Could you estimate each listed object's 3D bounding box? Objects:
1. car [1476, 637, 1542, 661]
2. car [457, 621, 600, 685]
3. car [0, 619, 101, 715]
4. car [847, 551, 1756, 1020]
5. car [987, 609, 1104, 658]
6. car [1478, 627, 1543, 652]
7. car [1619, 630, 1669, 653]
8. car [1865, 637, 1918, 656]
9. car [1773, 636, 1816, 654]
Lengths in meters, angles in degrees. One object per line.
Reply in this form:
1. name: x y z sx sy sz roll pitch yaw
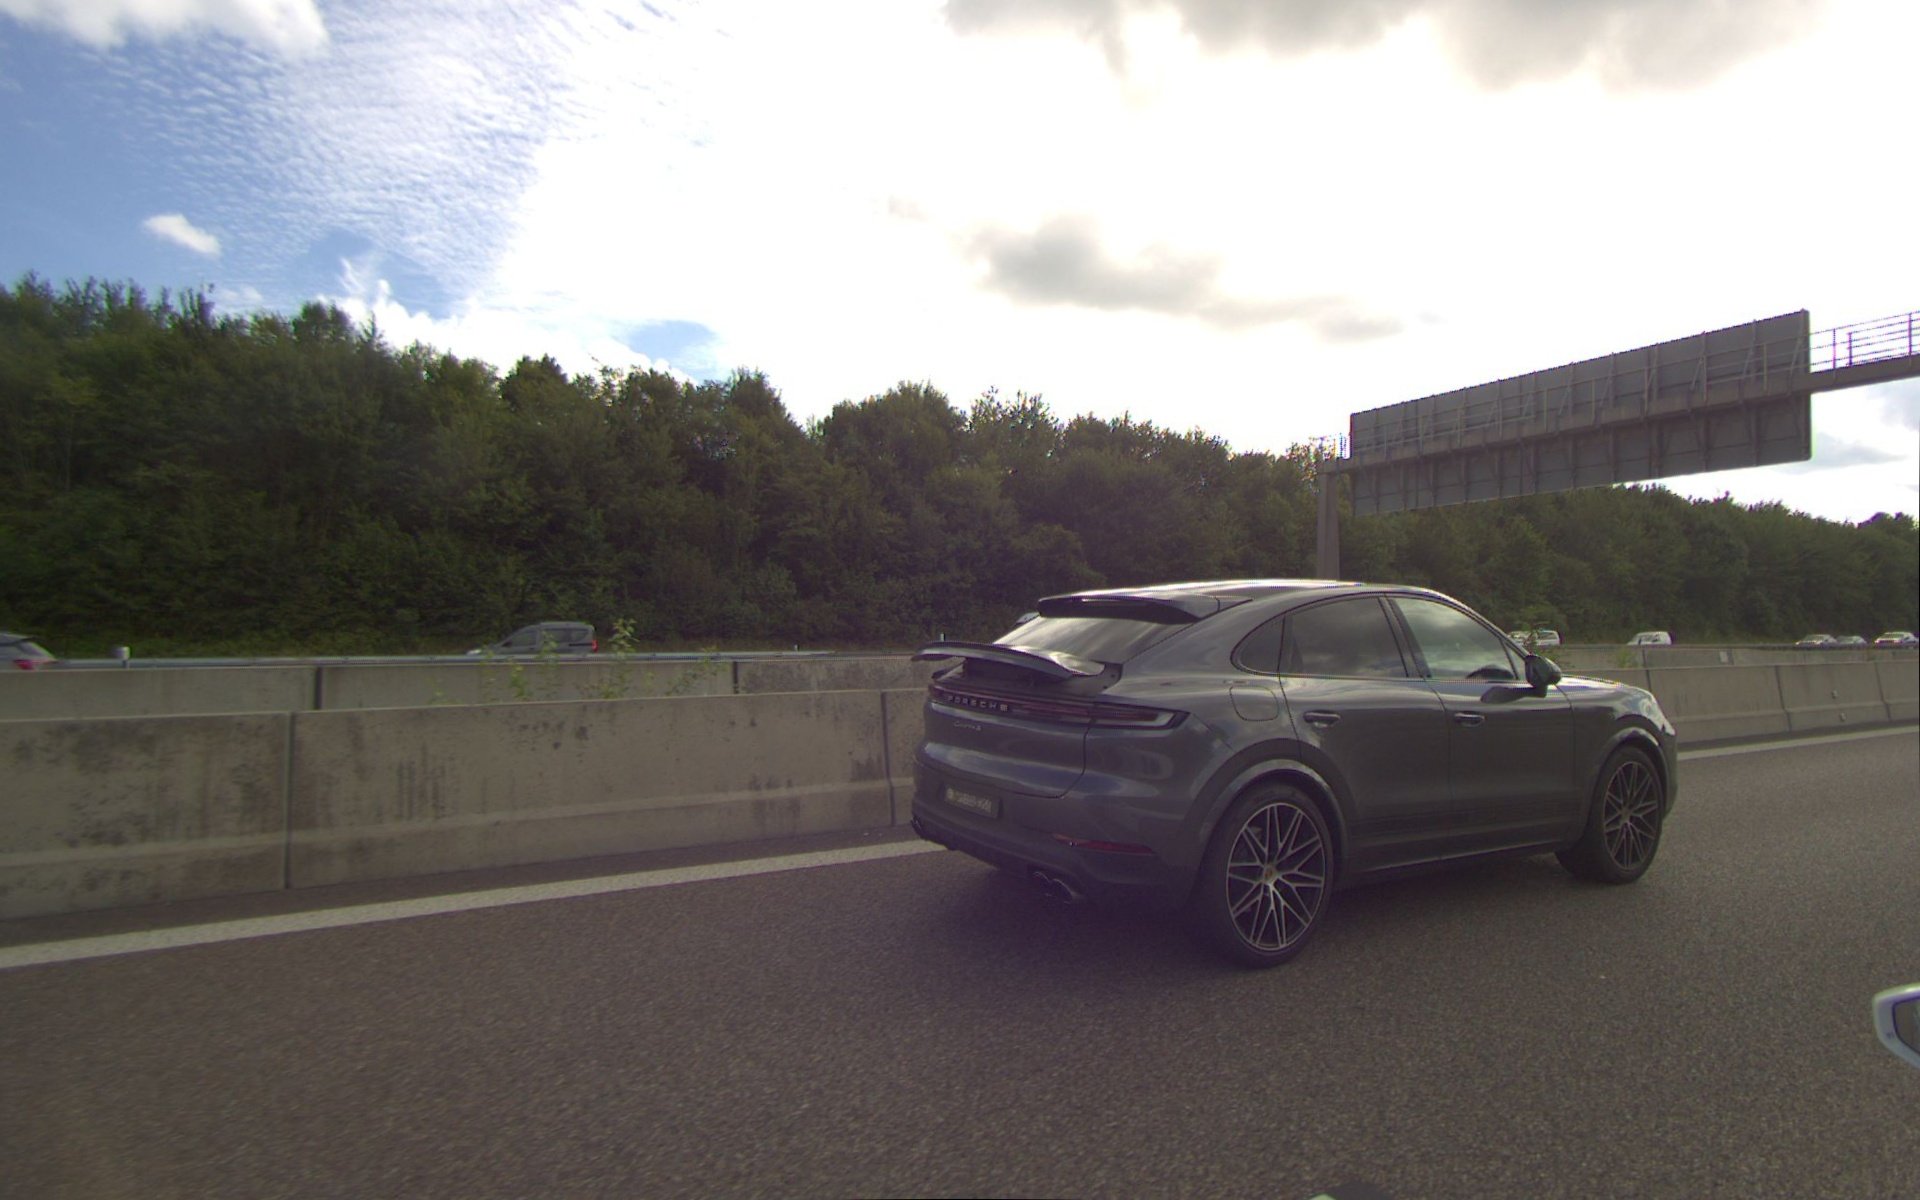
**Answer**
1. car: 34.258 3.035 62.645 4.274 1.463 1.649 1 -2 -31
2. car: -14.736 1.767 34.346 4.294 2.040 1.984 1 0 -31
3. car: -14.882 0.936 13.975 4.198 1.332 1.635 1 -2 -31
4. car: 2.224 0.712 5.779 5.436 1.658 1.903 1 -1 -31
5. car: 4.247 1.651 49.678 5.614 2.345 1.985 1 -2 -29
6. car: 38.429 2.732 70.102 4.890 1.655 1.726 1 -2 -31
7. car: 53.746 3.265 78.906 4.233 1.781 1.584 1 -2 -31
8. car: 79.413 3.943 85.644 4.710 1.613 1.985 1 -2 -30
9. car: 69.647 3.722 83.839 4.062 1.446 1.495 1 -2 -31
